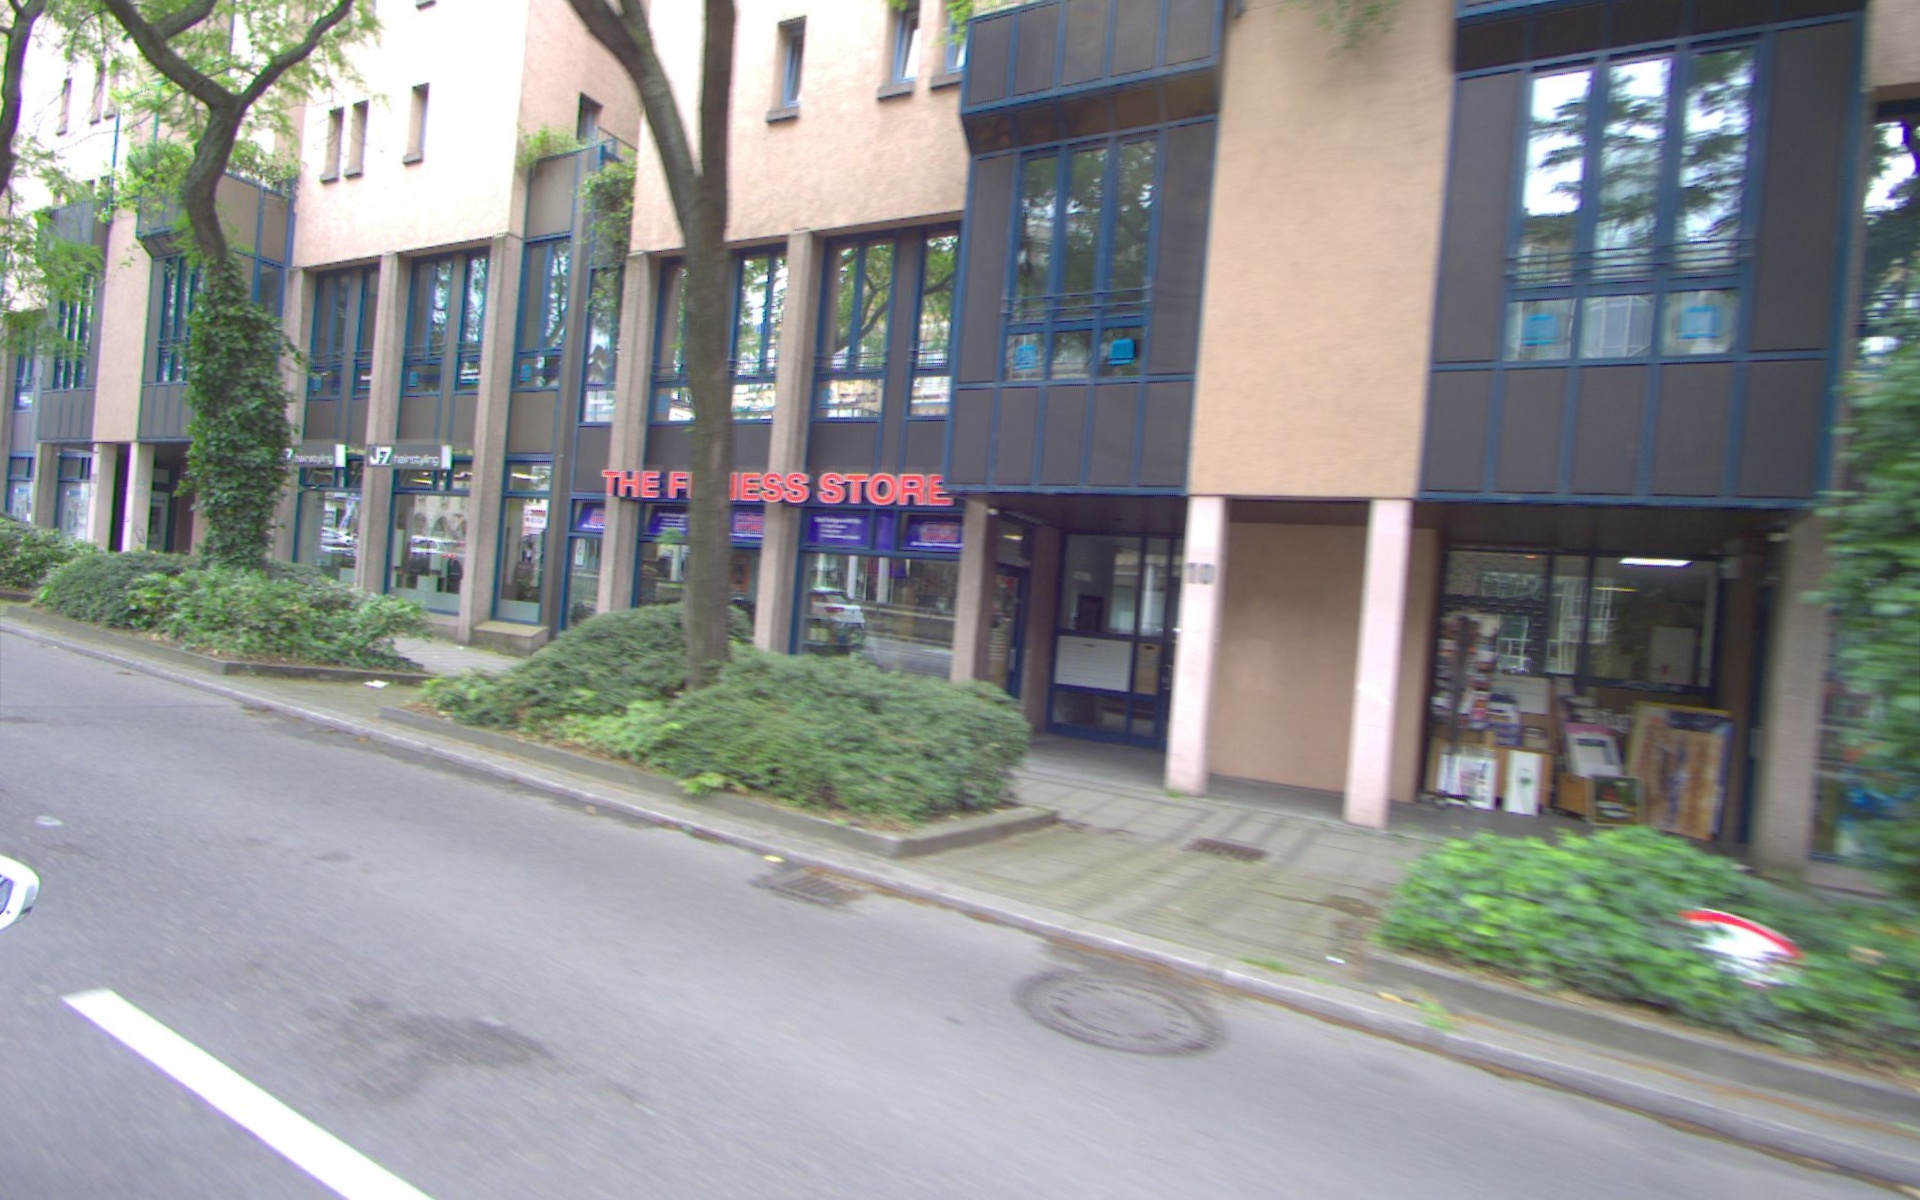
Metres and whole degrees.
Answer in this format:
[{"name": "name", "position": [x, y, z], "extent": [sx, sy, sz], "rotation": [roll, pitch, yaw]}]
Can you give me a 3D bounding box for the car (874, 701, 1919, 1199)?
[{"name": "car", "position": [2.013, 1.188, 1.260], "extent": [3.936, 1.548, 1.947], "rotation": [6, -2, 34]}]
